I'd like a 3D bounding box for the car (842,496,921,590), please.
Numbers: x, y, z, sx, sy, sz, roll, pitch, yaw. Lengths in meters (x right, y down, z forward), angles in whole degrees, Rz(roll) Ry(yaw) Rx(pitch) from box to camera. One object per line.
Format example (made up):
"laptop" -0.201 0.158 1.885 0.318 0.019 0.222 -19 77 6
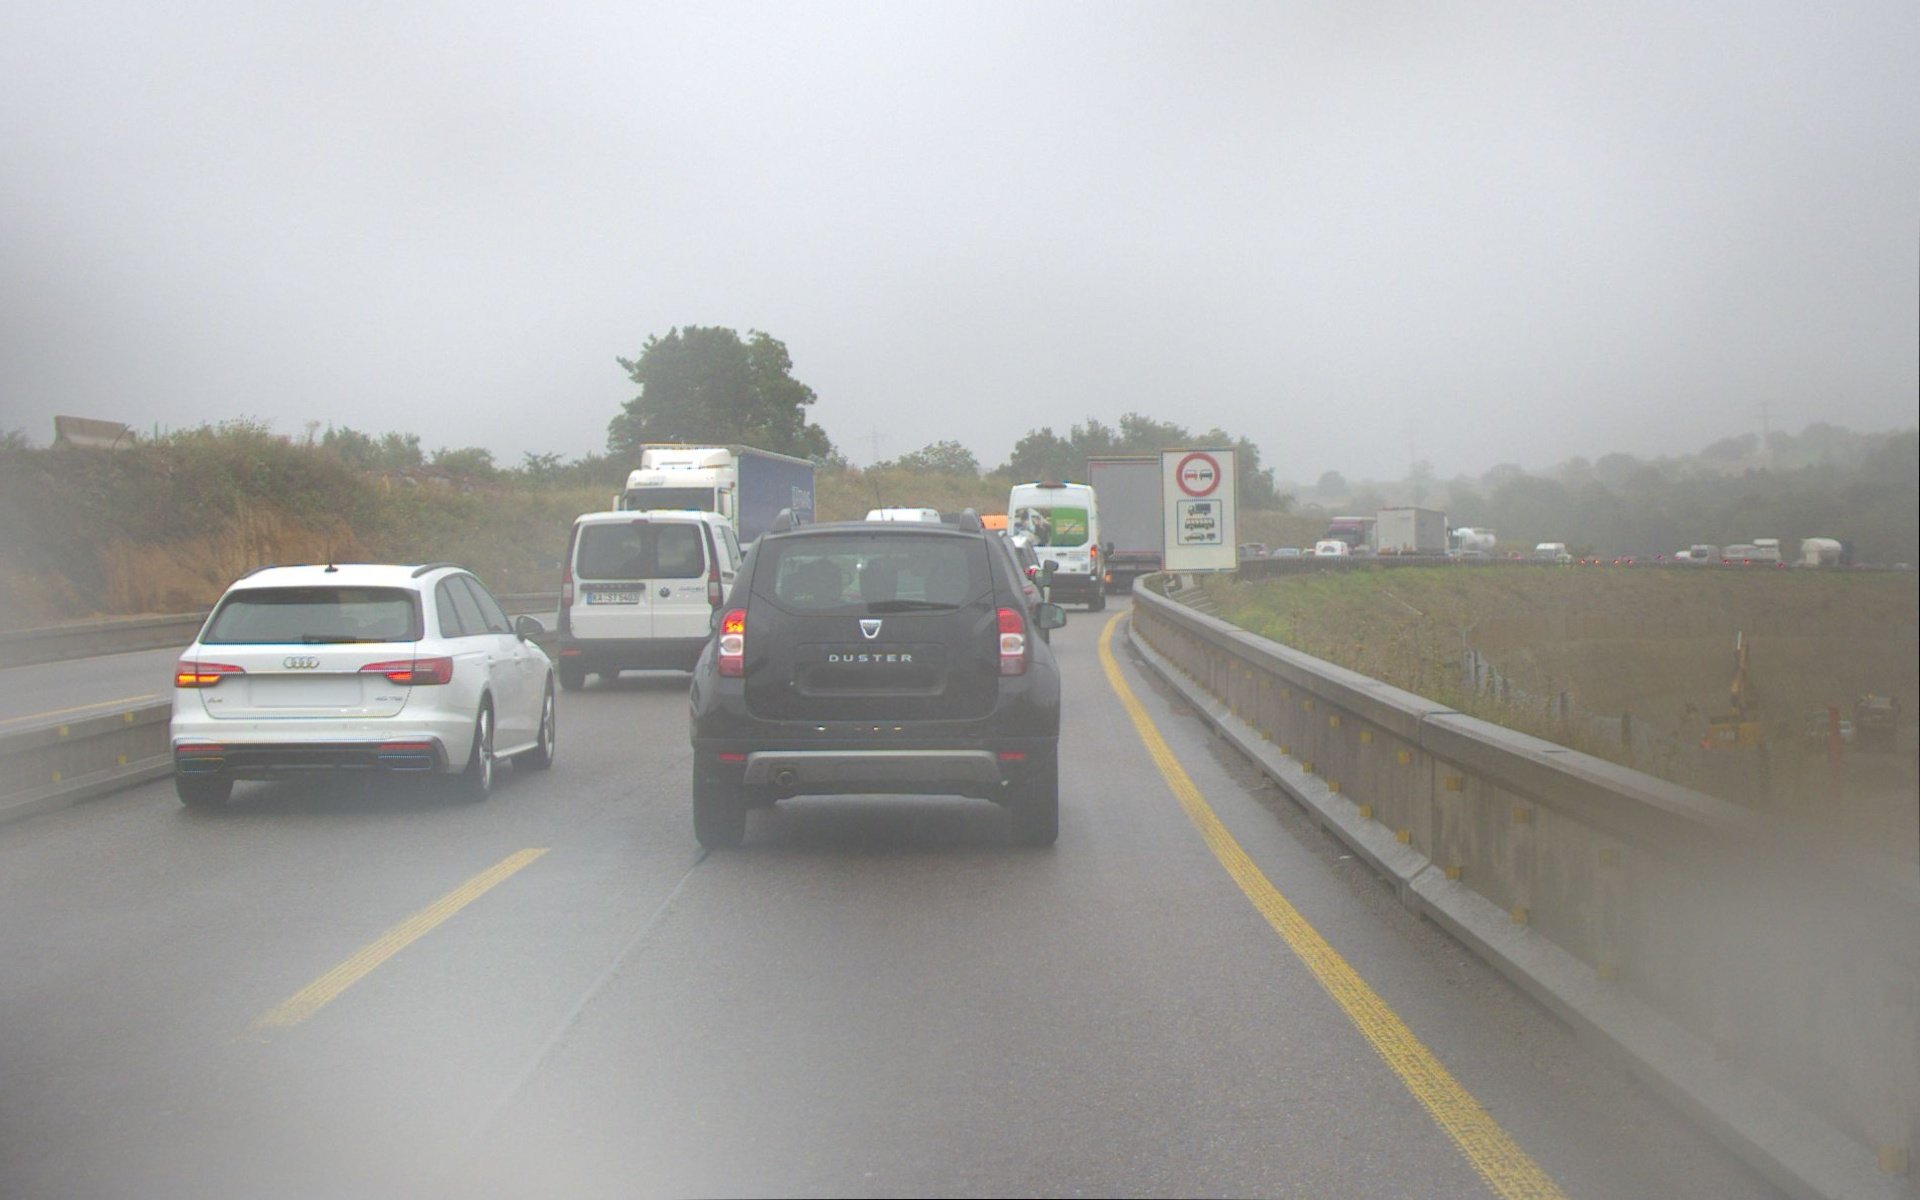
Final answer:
"car" -2.265 -1.722 100.960 2.006 2.644 6.884 0 2 1

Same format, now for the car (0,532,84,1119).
"car" -3.265 0.669 6.687 1.735 1.457 5.630 0 3 -1

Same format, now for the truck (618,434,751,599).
"truck" -6.944 -2.135 87.258 2.788 4.021 5.820 0 2 1

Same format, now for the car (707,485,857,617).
"car" -2.517 -0.684 49.359 1.826 1.809 4.000 0 0 2

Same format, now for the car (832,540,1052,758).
"car" -0.179 0.393 30.587 1.826 1.809 4.000 0 0 -1

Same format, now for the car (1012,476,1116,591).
"car" 2.310 -1.426 75.209 1.827 2.429 4.156 0 0 8

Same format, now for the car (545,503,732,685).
"car" -3.335 -0.070 36.254 1.826 1.809 4.000 0 0 -4

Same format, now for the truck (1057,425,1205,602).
"truck" 5.283 -2.508 103.997 3.545 5.060 10.438 0 0 8

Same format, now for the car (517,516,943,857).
"car" -1.083 0.389 18.049 1.826 1.585 4.000 0 0 2

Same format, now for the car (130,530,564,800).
"car" -3.640 0.347 21.094 1.826 1.494 4.000 0 0 2

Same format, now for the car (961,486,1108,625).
"car" 1.060 -0.593 46.971 1.826 1.809 3.999 0 0 4

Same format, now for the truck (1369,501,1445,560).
"truck" 28.897 -4.530 221.960 3.475 3.702 8.411 -1 1 17
